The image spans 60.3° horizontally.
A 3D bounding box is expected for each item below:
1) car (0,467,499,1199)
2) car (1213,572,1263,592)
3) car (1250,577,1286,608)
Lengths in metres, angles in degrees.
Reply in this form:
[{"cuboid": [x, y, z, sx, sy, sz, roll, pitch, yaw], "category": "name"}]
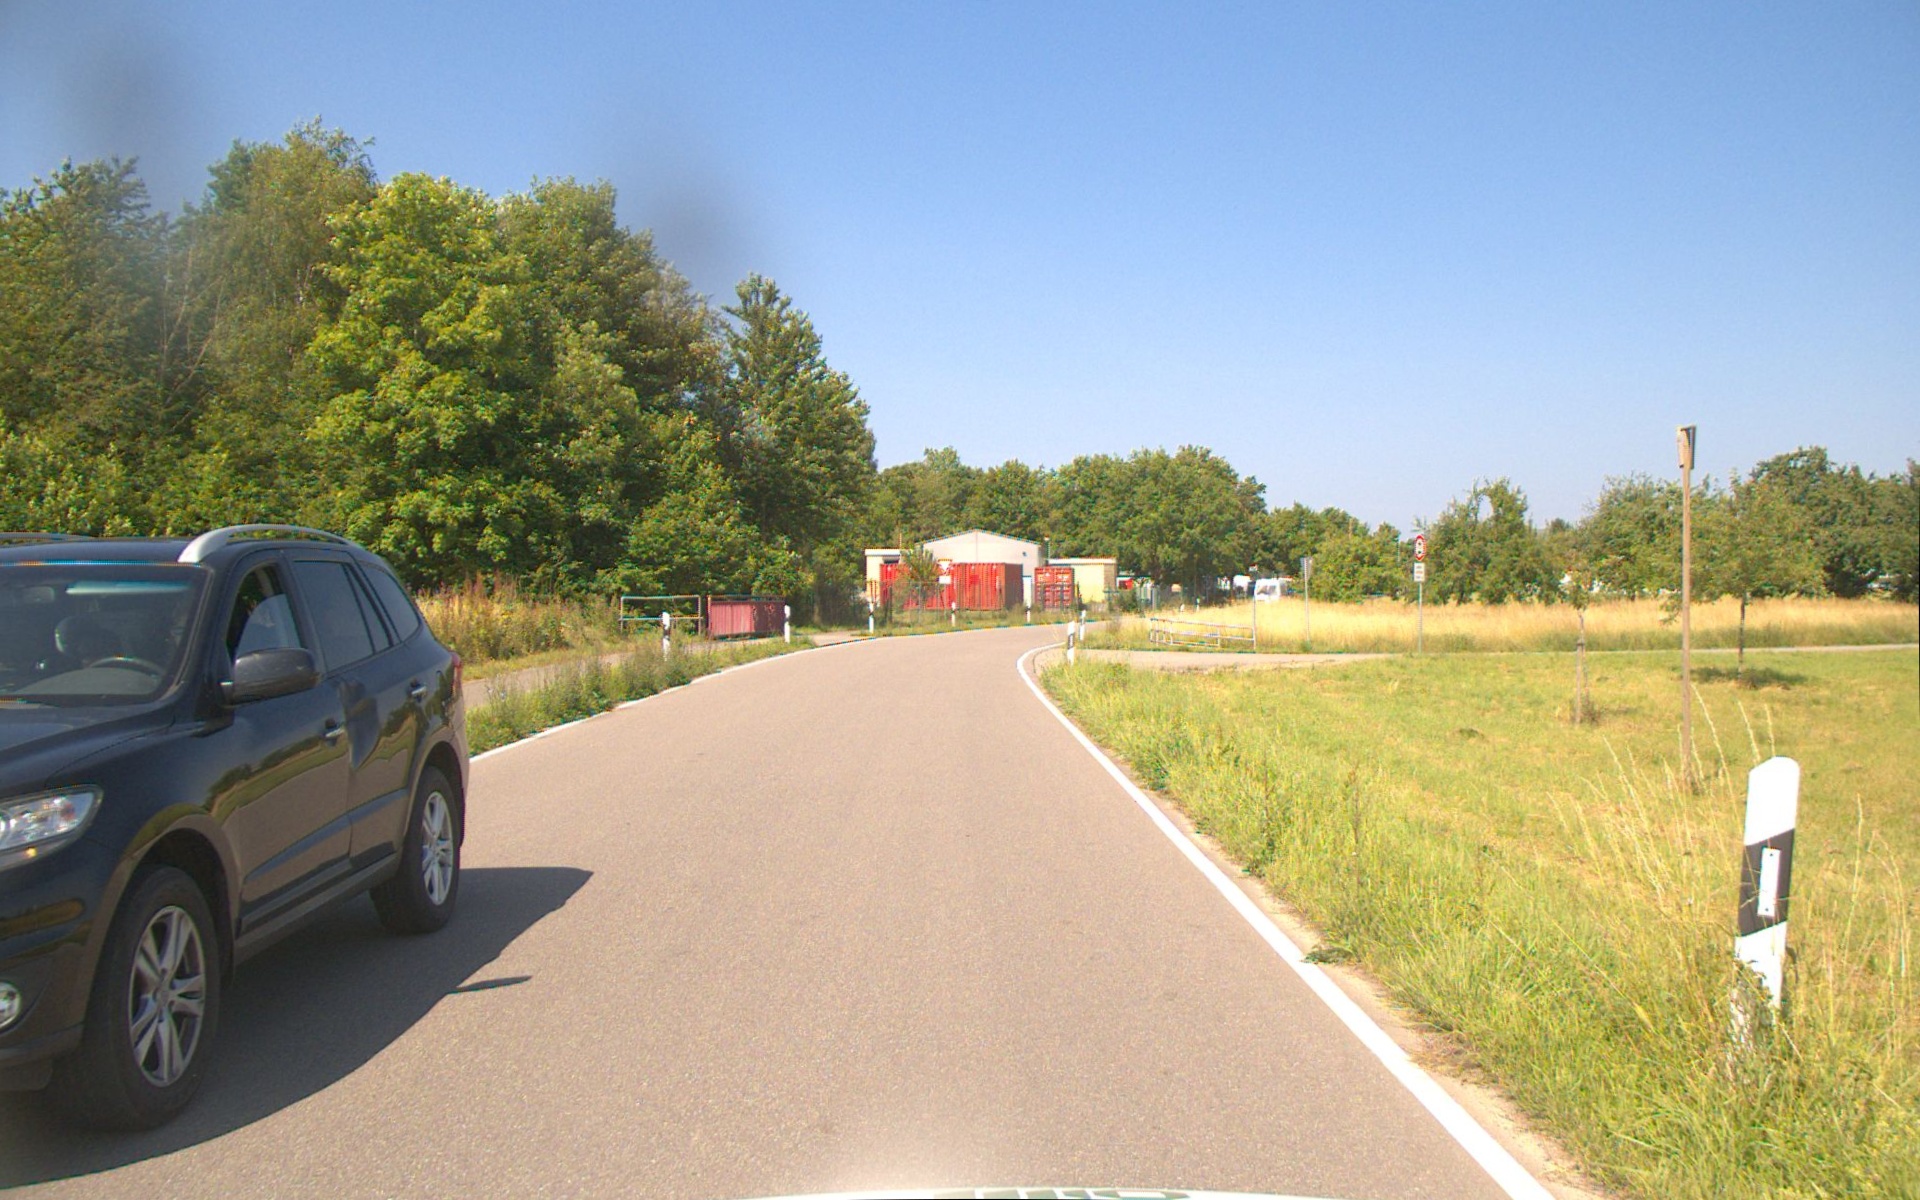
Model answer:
[{"cuboid": [-3.161, 0.592, 6.063, 1.828, 1.783, 4.295, -2, 0, -2], "category": "car"}, {"cuboid": [32.692, -2.094, 194.403, 5.511, 2.306, 1.989, -1, 0, -20], "category": "car"}, {"cuboid": [23.166, -0.565, 124.100, 1.952, 2.305, 4.728, 0, 0, 19], "category": "car"}]
